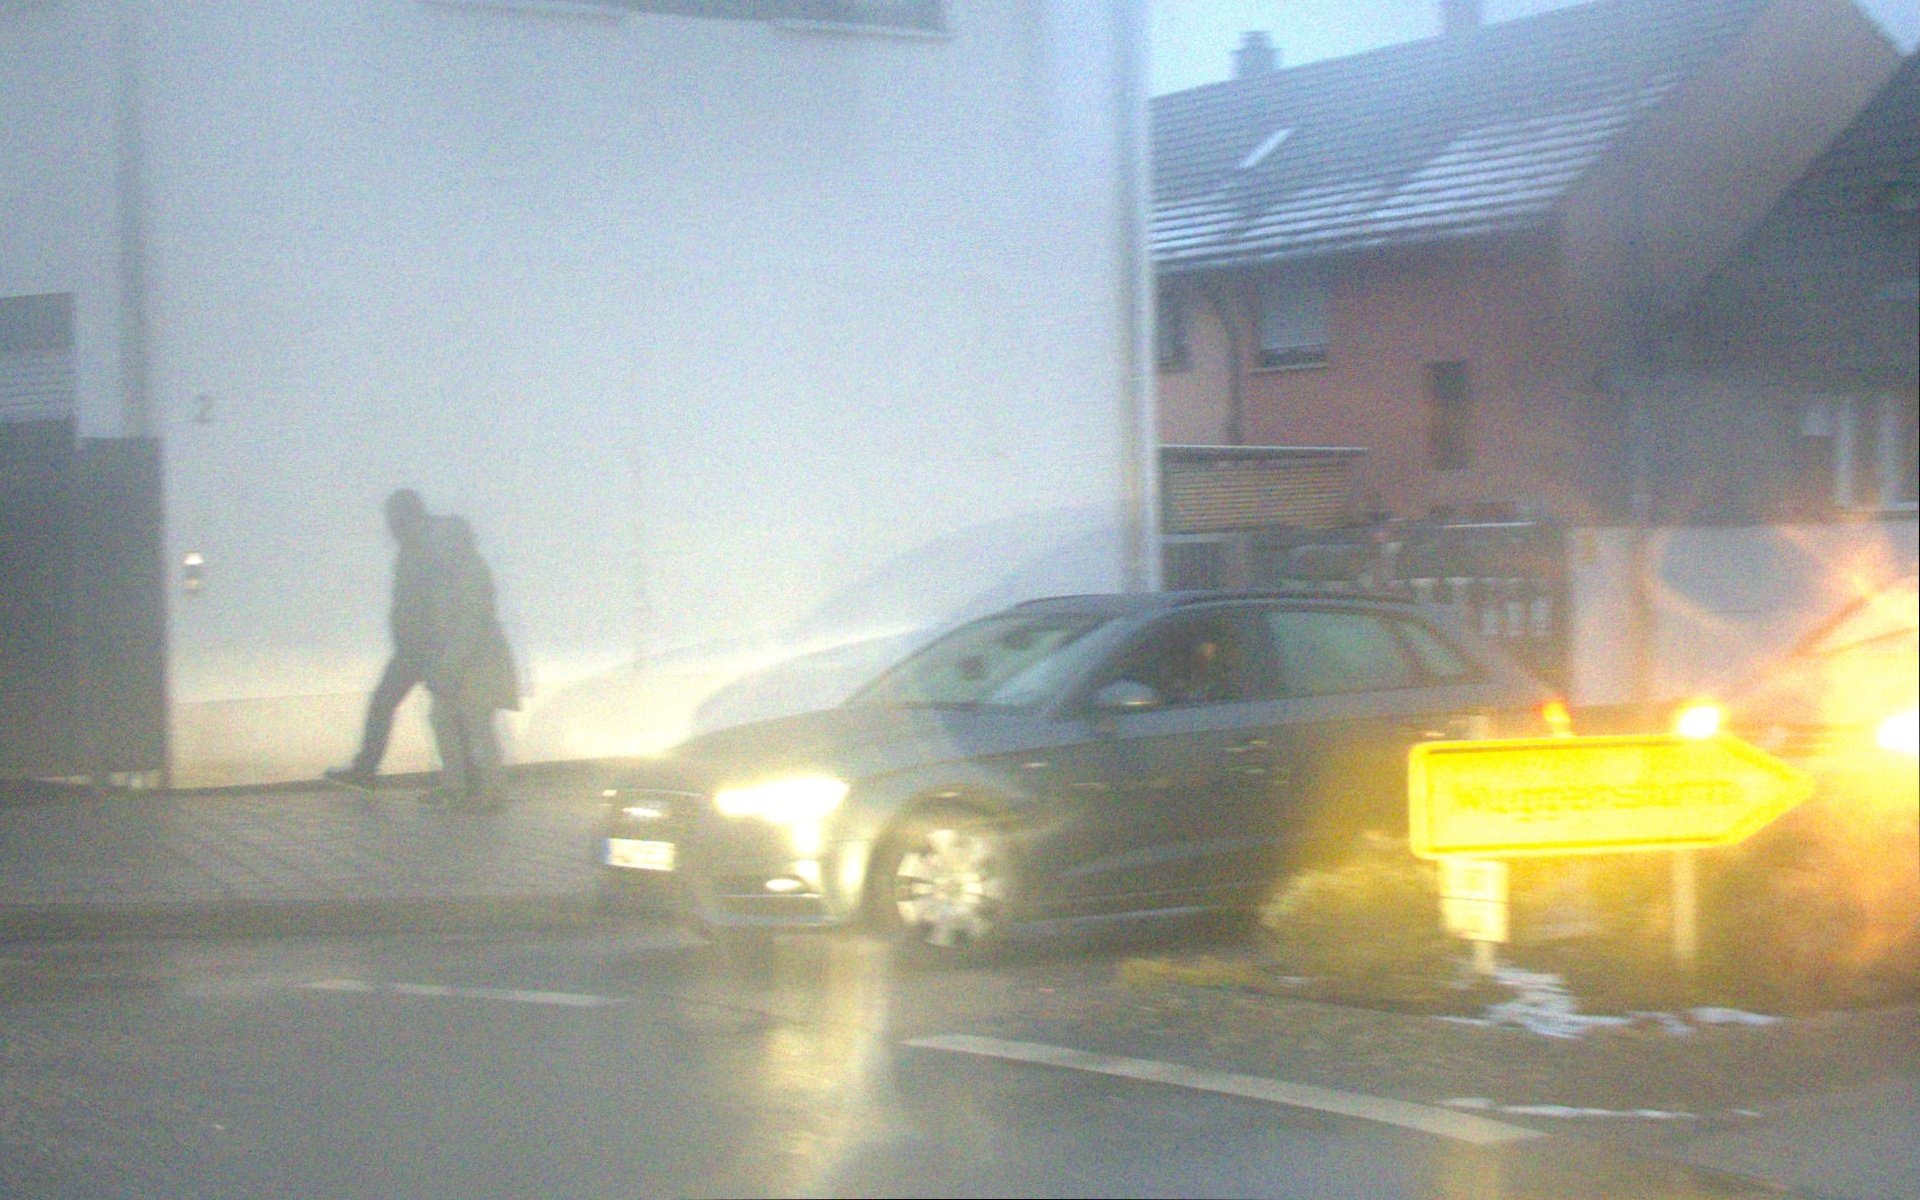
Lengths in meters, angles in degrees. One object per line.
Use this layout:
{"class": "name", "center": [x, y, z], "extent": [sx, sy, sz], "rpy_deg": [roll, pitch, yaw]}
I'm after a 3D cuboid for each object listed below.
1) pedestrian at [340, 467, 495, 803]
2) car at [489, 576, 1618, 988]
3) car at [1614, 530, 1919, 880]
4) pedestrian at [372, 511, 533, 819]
{"class": "pedestrian", "center": [-3.027, 0.176, 19.175], "extent": [0.715, 1.825, 0.637], "rpy_deg": [-1, 3, -24]}
{"class": "car", "center": [0.432, 0.649, 13.922], "extent": [4.221, 1.379, 1.850], "rpy_deg": [-1, -1, -32]}
{"class": "car", "center": [5.277, 0.460, 17.023], "extent": [3.987, 1.547, 1.696], "rpy_deg": [0, 0, -35]}
{"class": "pedestrian", "center": [-2.739, 0.334, 18.532], "extent": [0.715, 1.615, 0.582], "rpy_deg": [-1, 2, -24]}
